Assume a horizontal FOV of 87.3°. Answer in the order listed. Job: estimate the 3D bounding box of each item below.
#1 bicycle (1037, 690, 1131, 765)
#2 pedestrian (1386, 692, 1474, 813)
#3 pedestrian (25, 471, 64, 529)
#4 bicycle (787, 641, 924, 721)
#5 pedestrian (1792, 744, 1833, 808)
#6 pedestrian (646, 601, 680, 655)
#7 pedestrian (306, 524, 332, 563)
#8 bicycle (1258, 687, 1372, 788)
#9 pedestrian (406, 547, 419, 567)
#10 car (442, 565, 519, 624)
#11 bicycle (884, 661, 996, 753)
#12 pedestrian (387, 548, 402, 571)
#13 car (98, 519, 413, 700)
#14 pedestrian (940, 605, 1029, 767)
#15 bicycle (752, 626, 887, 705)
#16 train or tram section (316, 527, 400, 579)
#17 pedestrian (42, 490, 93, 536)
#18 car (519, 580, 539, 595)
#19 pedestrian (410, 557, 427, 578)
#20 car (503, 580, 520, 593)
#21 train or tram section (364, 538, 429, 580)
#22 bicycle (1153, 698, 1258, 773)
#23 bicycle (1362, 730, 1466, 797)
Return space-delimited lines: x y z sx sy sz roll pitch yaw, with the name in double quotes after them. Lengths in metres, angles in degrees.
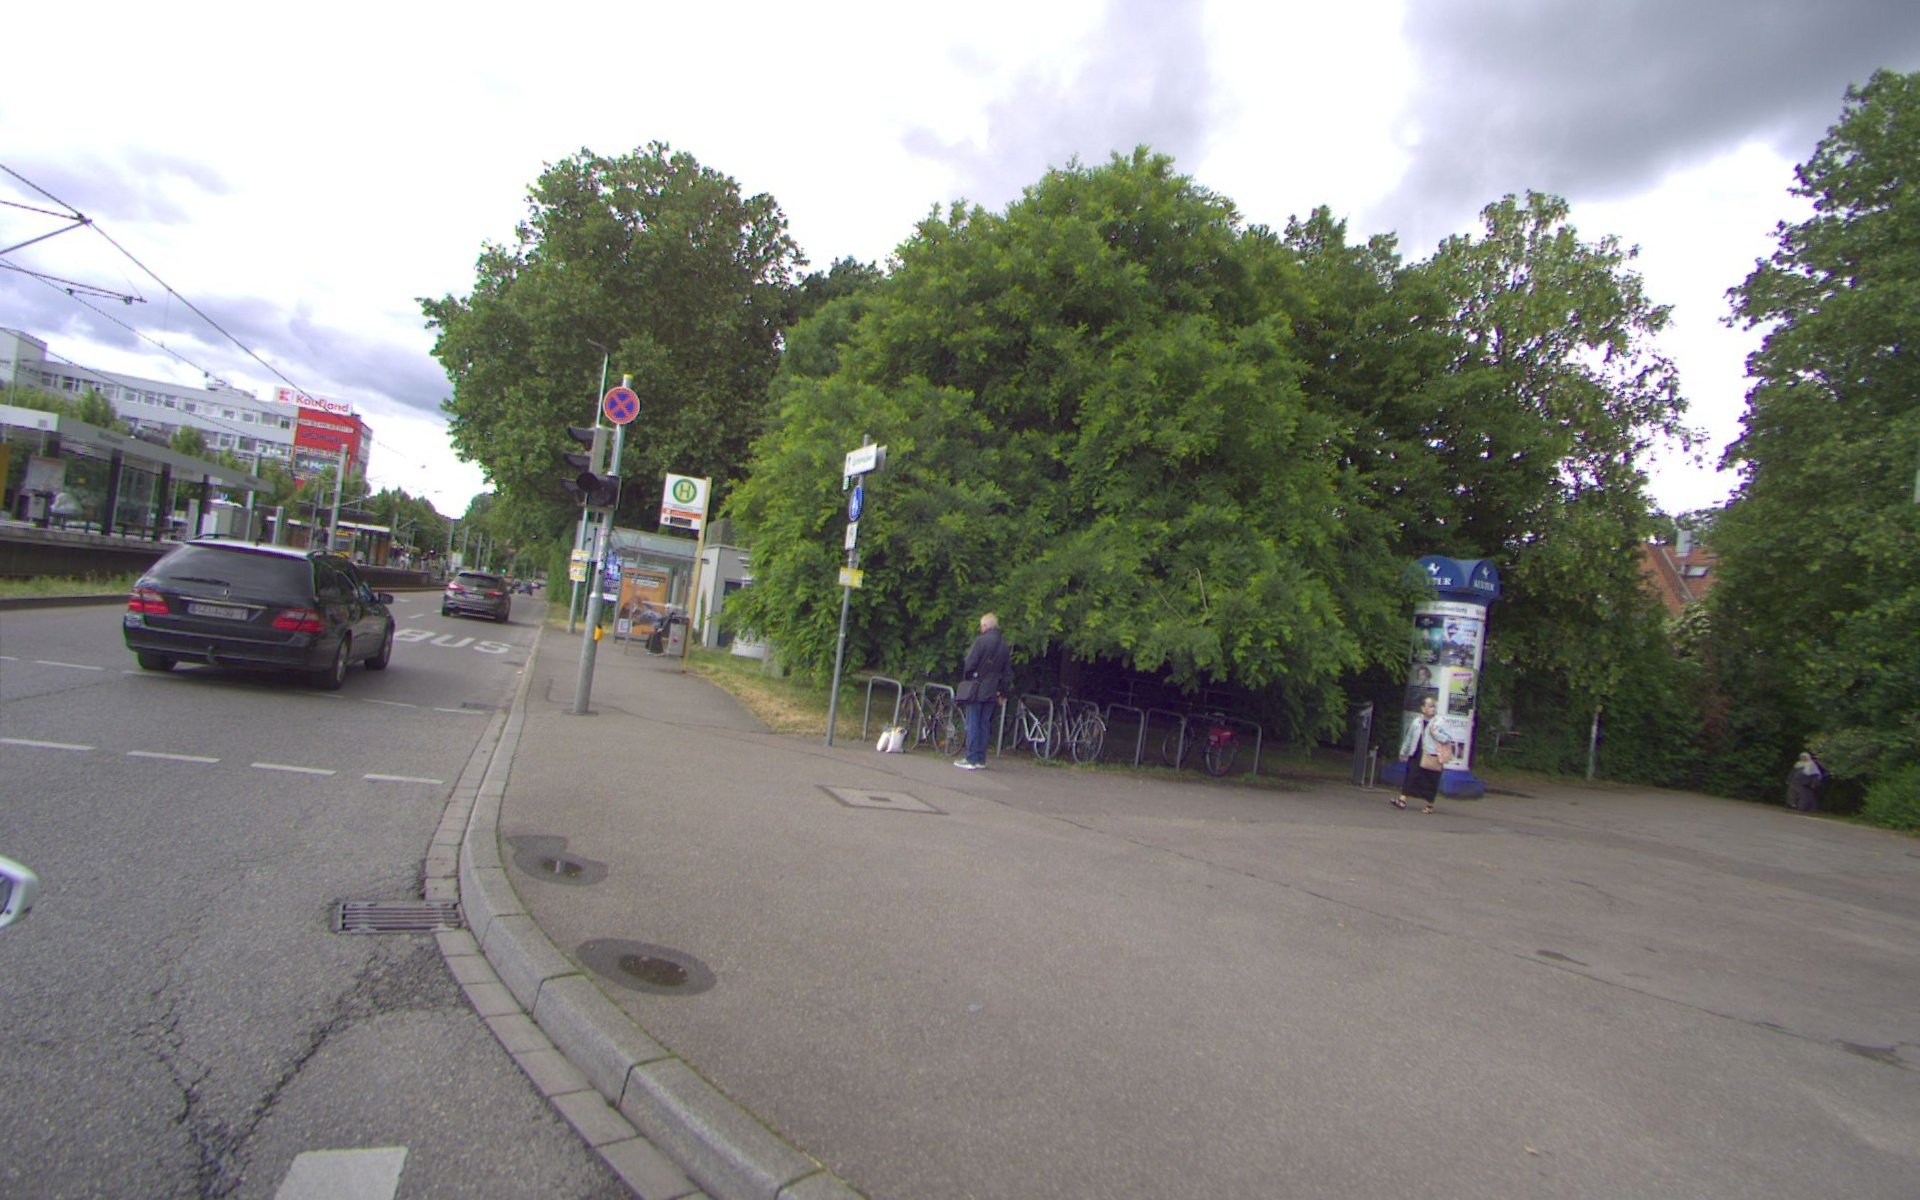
1.733 1.792 14.265 0.472 0.816 1.505 9 -2 -26 "bicycle"
6.477 2.091 13.878 0.748 1.531 0.666 8 -2 -31 "pedestrian"
-27.814 -3.026 30.572 0.564 1.639 0.583 6 -1 -22 "pedestrian"
-1.539 1.197 14.898 1.847 0.935 0.542 8 0 -21 "bicycle"
22.356 4.614 26.392 0.608 1.582 0.497 6 -3 -10 "pedestrian"
-6.929 0.649 23.446 0.595 1.172 0.544 7 -1 -22 "pedestrian"
-31.123 -2.734 48.866 0.741 1.764 0.933 7 -1 -22 "pedestrian"
5.835 2.240 16.625 0.639 1.387 1.647 9 -2 -26 "bicycle"
-44.912 -3.534 82.548 0.511 1.500 0.582 6 -1 16 "pedestrian"
-15.629 -0.174 32.995 1.808 1.546 4.395 10 -3 -22 "car"
-0.297 1.365 13.143 0.519 0.917 1.837 7 0 -31 "bicycle"
-43.621 -3.122 77.571 0.763 1.697 0.787 7 -1 -22 "pedestrian"
-7.871 0.090 11.779 1.815 1.494 4.396 9 -2 -21 "car"
0.288 0.996 11.632 0.684 1.773 0.416 10 -3 -35 "pedestrian"
-2.248 1.046 16.185 2.010 0.949 0.591 9 -2 -7 "bicycle"
-55.960 -4.153 94.090 2.727 3.927 18.556 8 -2 -20 "train or tram section"
-26.339 -2.556 29.696 0.760 1.203 0.726 8 -2 -18 "pedestrian"
-54.098 -1.583 126.318 1.807 1.546 4.398 9 -3 -20 "car"
-47.379 -2.803 87.992 0.732 1.697 0.876 6 -1 22 "pedestrian"
-65.303 -1.938 146.621 1.806 1.547 3.912 8 -2 -20 "car"
-62.210 -4.379 111.614 2.729 3.871 18.552 10 -2 -20 "train or tram section"
3.730 2.048 15.421 0.472 0.865 1.728 9 -2 -26 "bicycle"
7.961 2.850 17.702 0.472 0.866 1.647 9 -2 -26 "bicycle"
